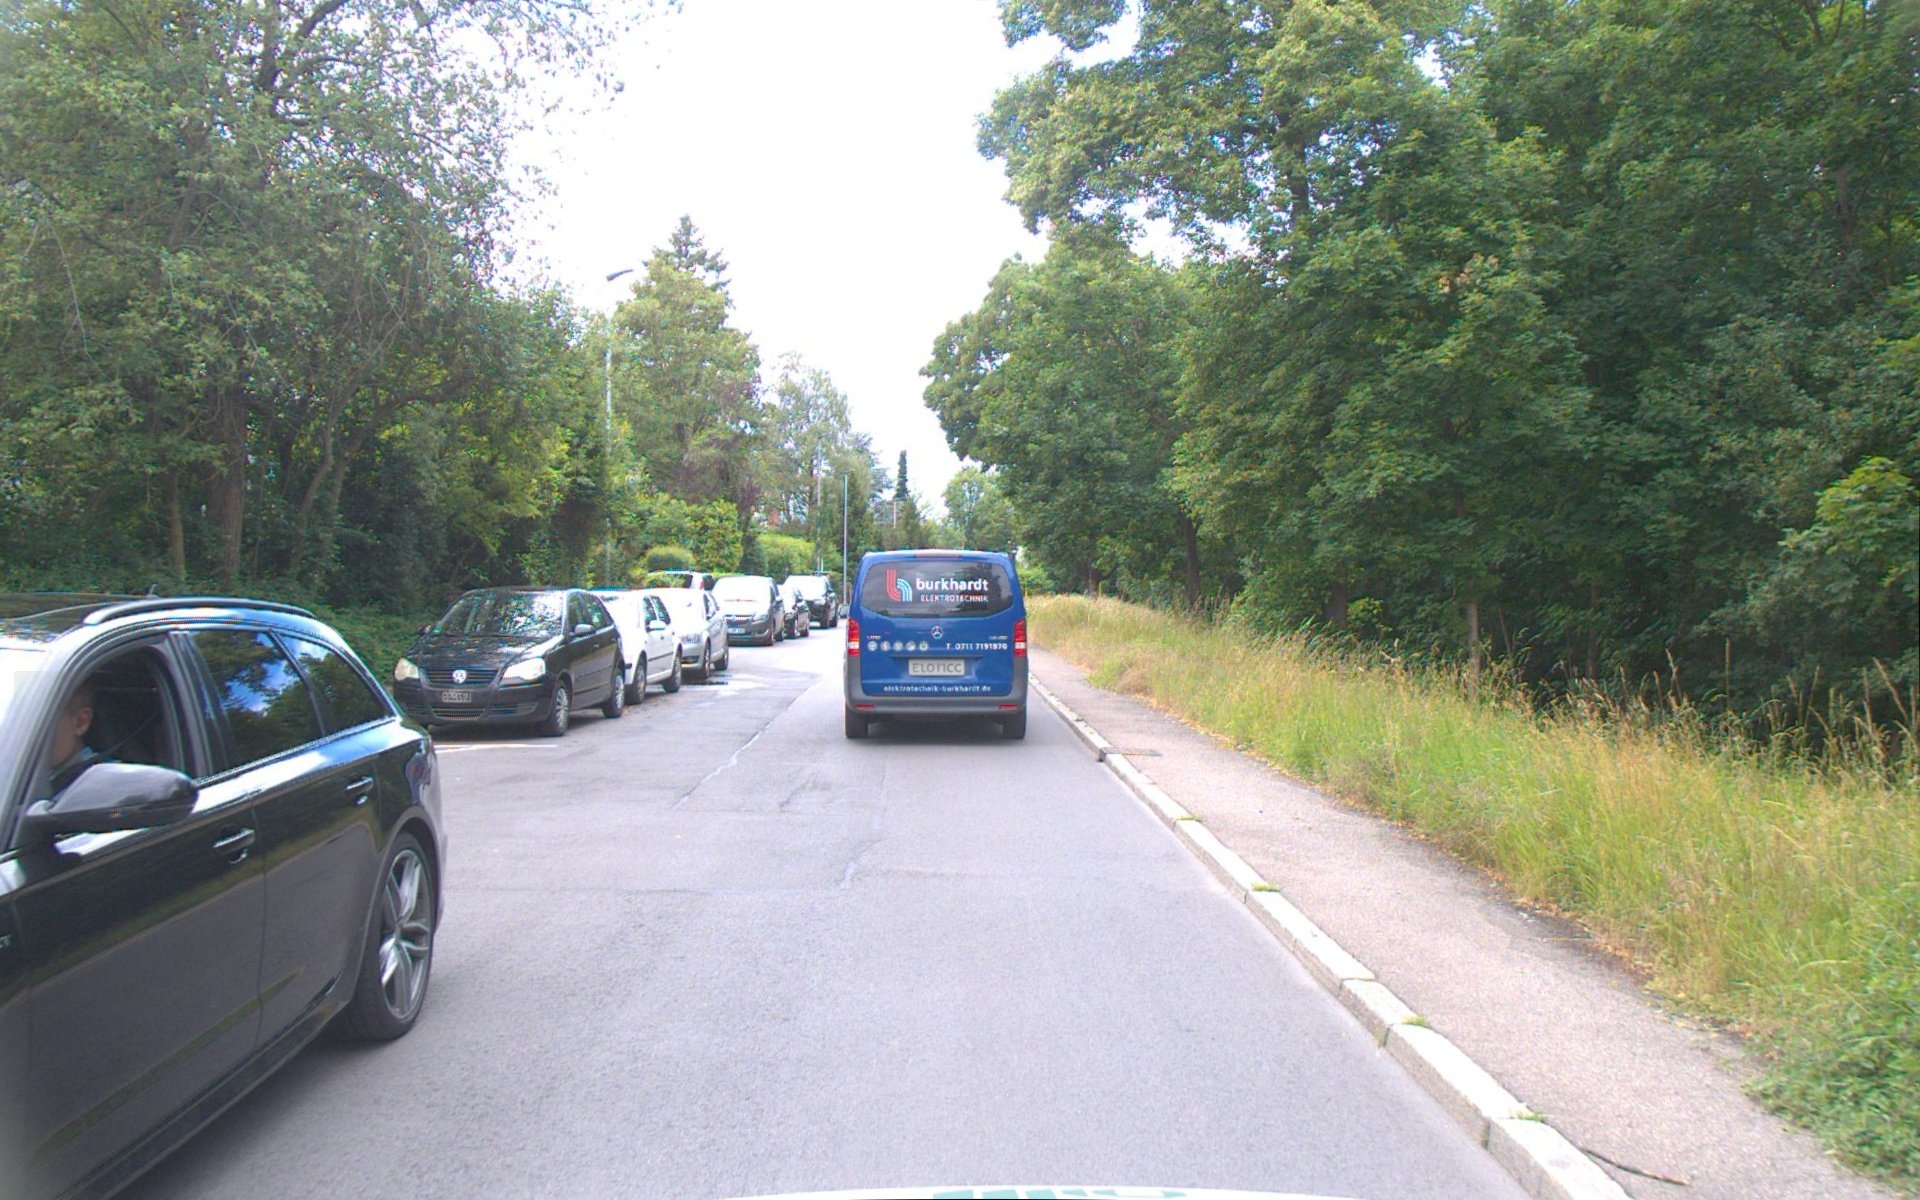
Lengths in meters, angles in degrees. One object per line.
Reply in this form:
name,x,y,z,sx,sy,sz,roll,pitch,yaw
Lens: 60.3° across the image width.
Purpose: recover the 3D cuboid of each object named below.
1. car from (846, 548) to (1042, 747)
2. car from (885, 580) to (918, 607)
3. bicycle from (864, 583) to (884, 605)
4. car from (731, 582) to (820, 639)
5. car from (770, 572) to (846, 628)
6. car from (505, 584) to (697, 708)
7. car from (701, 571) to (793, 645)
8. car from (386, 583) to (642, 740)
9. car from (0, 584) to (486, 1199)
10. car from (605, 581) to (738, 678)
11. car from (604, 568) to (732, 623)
car,-0.279,0.384,17.741,1.851,1.876,3.998,-1,2,-4
car,-3.781,-0.456,107.784,1.798,1.659,4.302,2,0,3
bicycle,-5.448,-0.382,104.902,0.887,1.273,2.917,3,0,3
car,-5.036,0.247,45.794,1.718,1.437,4.899,1,1,2
car,-5.135,-0.023,56.516,1.933,1.767,5.191,1,1,2
car,-4.727,0.535,22.342,1.625,1.478,4.382,0,1,0
car,-5.139,0.168,40.342,1.696,1.661,4.567,1,1,-1
car,-4.599,0.562,17.624,1.589,1.475,3.970,0,1,1
car,-2.585,0.695,3.937,1.744,1.451,4.488,0,1,-2
car,-4.799,0.439,27.957,1.590,1.475,4.092,1,1,-1
car,-9.450,-0.161,53.581,3.613,1.666,1.830,2,0,12
